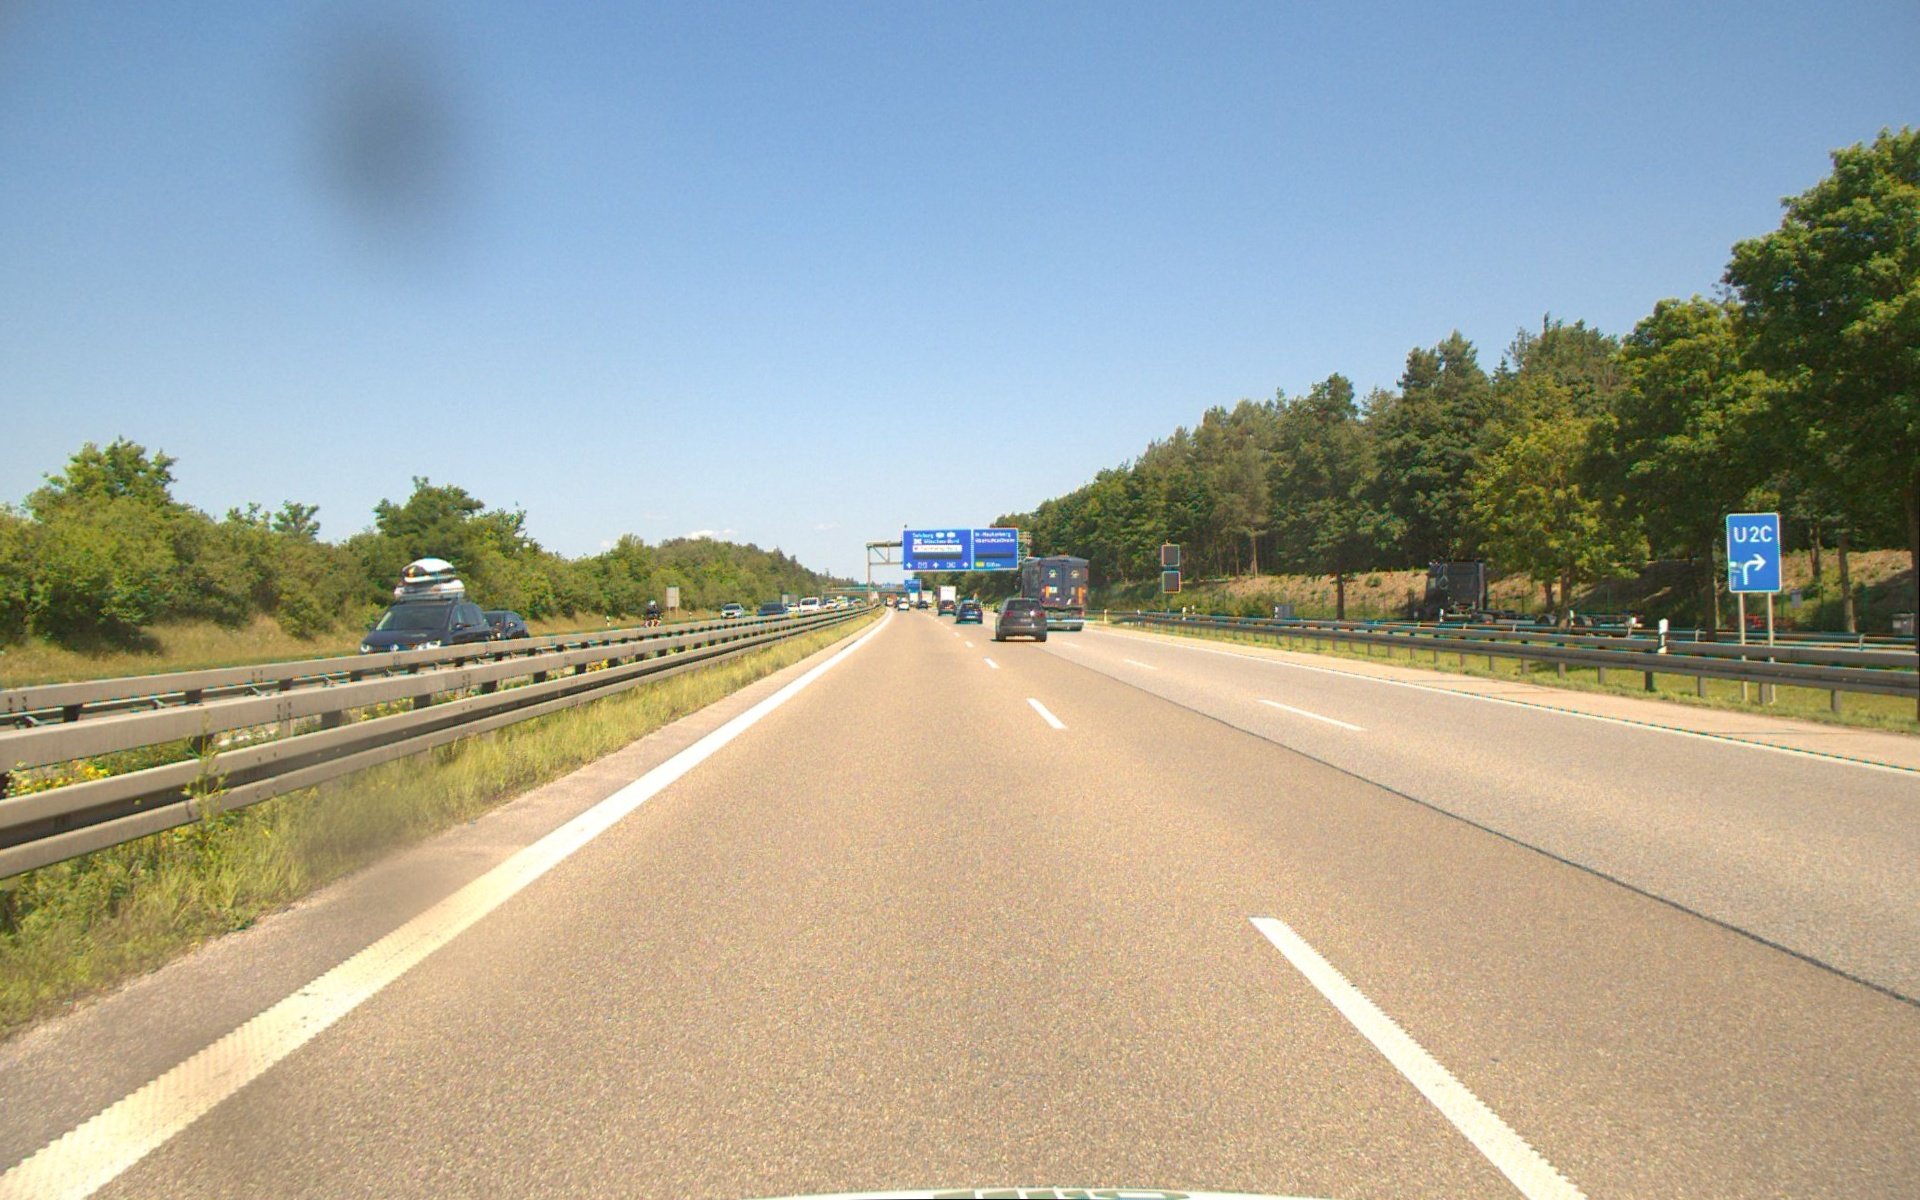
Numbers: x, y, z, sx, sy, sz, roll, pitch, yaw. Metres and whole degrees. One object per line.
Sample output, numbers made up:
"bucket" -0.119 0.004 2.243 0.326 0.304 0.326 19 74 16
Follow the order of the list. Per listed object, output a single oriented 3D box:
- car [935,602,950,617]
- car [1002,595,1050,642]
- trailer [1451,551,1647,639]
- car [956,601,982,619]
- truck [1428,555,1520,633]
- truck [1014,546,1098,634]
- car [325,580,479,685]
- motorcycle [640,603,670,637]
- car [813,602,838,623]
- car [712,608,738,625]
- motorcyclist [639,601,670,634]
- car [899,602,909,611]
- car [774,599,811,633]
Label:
"car" -1.779 0.992 170.133 1.441 1.422 3.410 2 0 -1
"car" 2.527 0.672 63.656 1.762 1.698 4.259 1 0 2
"trailer" 28.558 -0.214 81.145 2.528 3.983 12.702 0 0 -14
"car" 0.594 0.656 111.836 1.674 1.176 3.689 0 0 -1
"truck" 27.048 -0.314 87.265 2.528 3.983 4.848 0 0 -14
"truck" 5.157 -0.531 92.067 3.703 4.499 14.048 0 0 -1
"car" -12.241 0.671 36.598 1.953 2.146 4.301 -1 0 -1
"motorcycle" -10.346 0.664 56.113 0.650 1.095 1.881 -2 0 -1
"car" -12.399 1.167 152.559 1.881 1.905 5.516 1 0 0
"car" -21.208 1.459 149.123 1.751 1.464 4.520 0 0 -1
"motorcyclist" -10.350 0.584 56.069 0.857 1.095 0.811 -2 0 -1
"car" -8.304 0.948 245.250 1.441 1.249 3.410 0 0 -1
"car" -10.389 0.981 102.852 1.953 2.049 3.999 -1 0 -1
